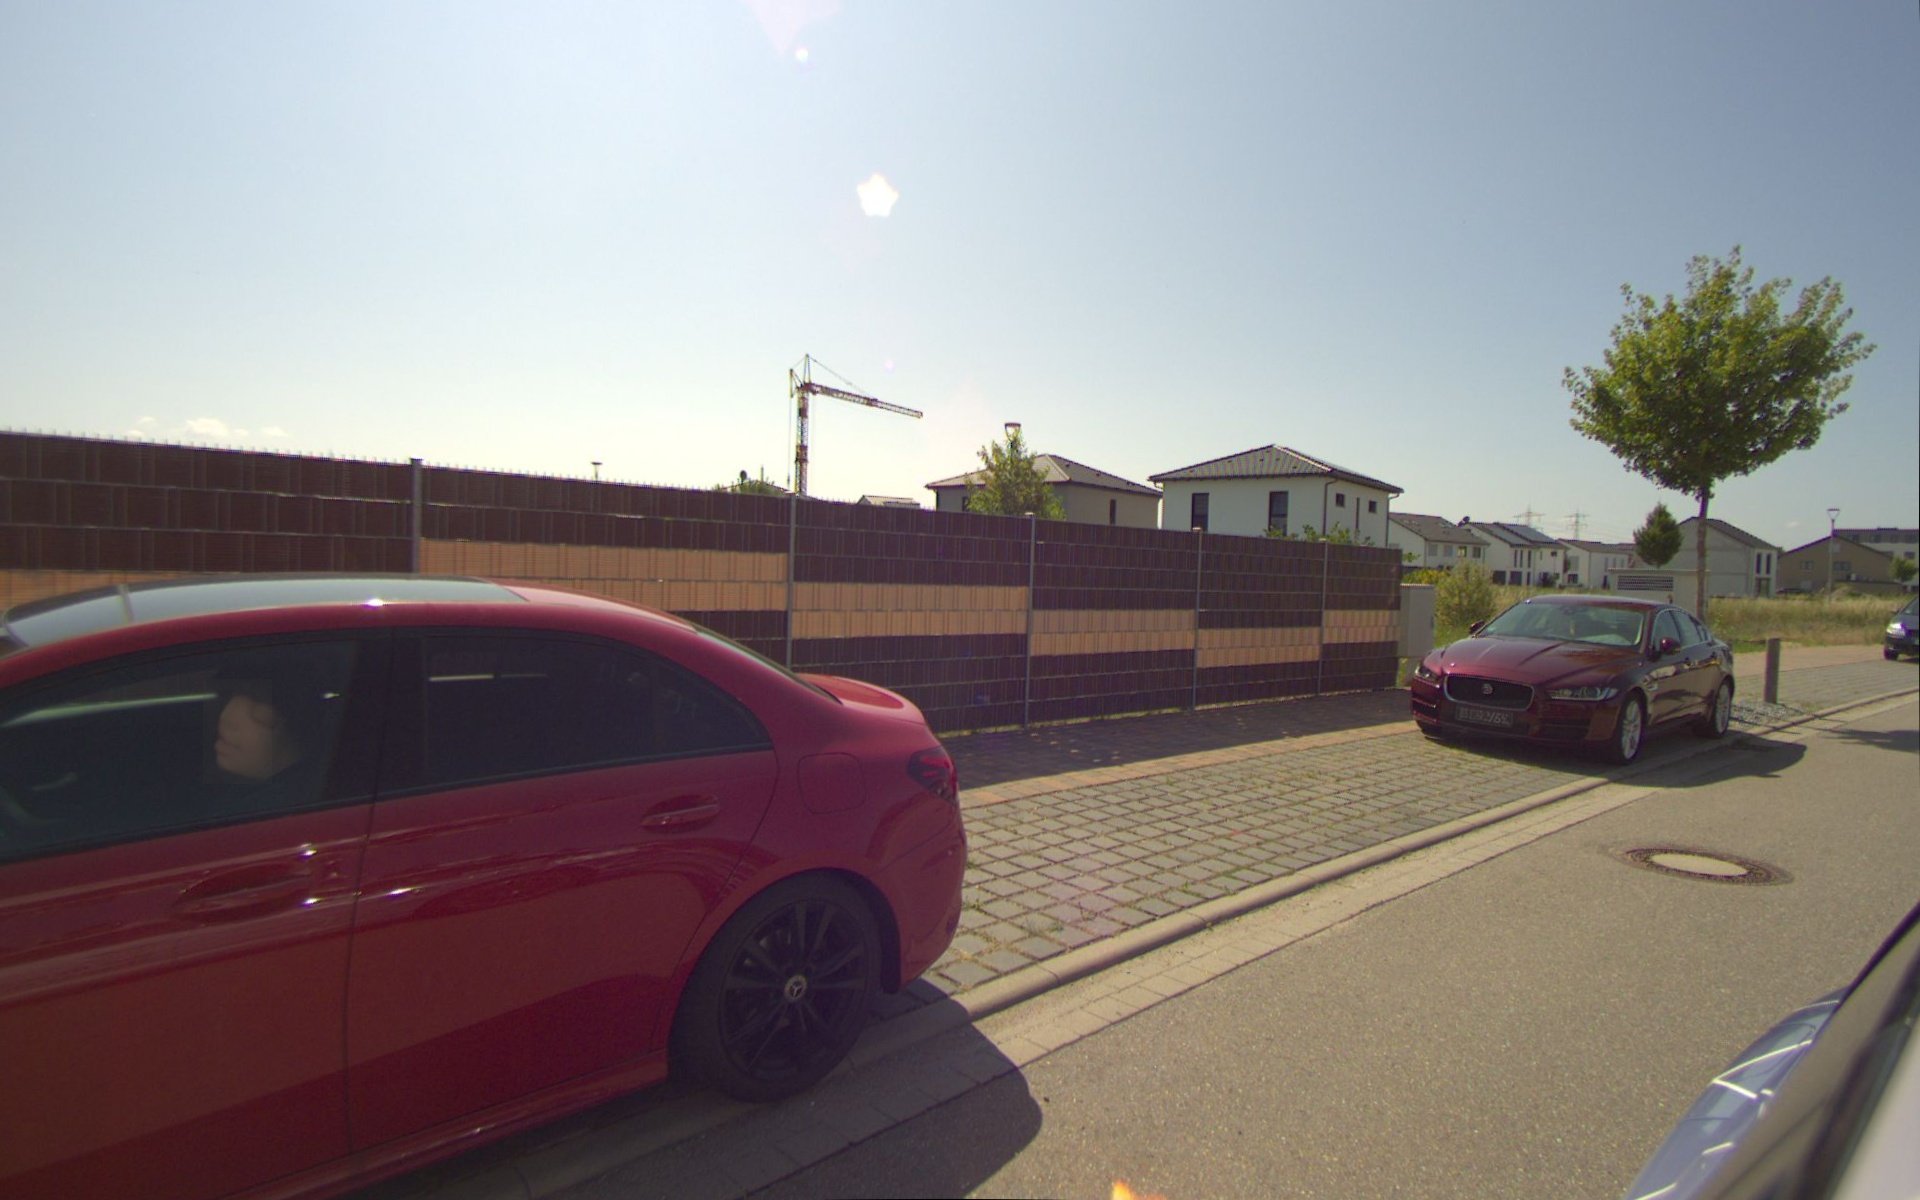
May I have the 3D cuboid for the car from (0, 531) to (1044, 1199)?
[{"bbox_3d":[-1.968,0.578,2.636,4.442,1.455,1.766,0,4,-42],"label":"car"}]

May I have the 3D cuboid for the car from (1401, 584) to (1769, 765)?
[{"bbox_3d":[6.421,0.580,10.185,4.493,1.380,1.759,0,3,-39],"label":"car"}]

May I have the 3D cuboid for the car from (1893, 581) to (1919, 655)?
[{"bbox_3d":[21.255,0.404,21.356,3.606,1.492,1.604,0,4,-37],"label":"car"}]
